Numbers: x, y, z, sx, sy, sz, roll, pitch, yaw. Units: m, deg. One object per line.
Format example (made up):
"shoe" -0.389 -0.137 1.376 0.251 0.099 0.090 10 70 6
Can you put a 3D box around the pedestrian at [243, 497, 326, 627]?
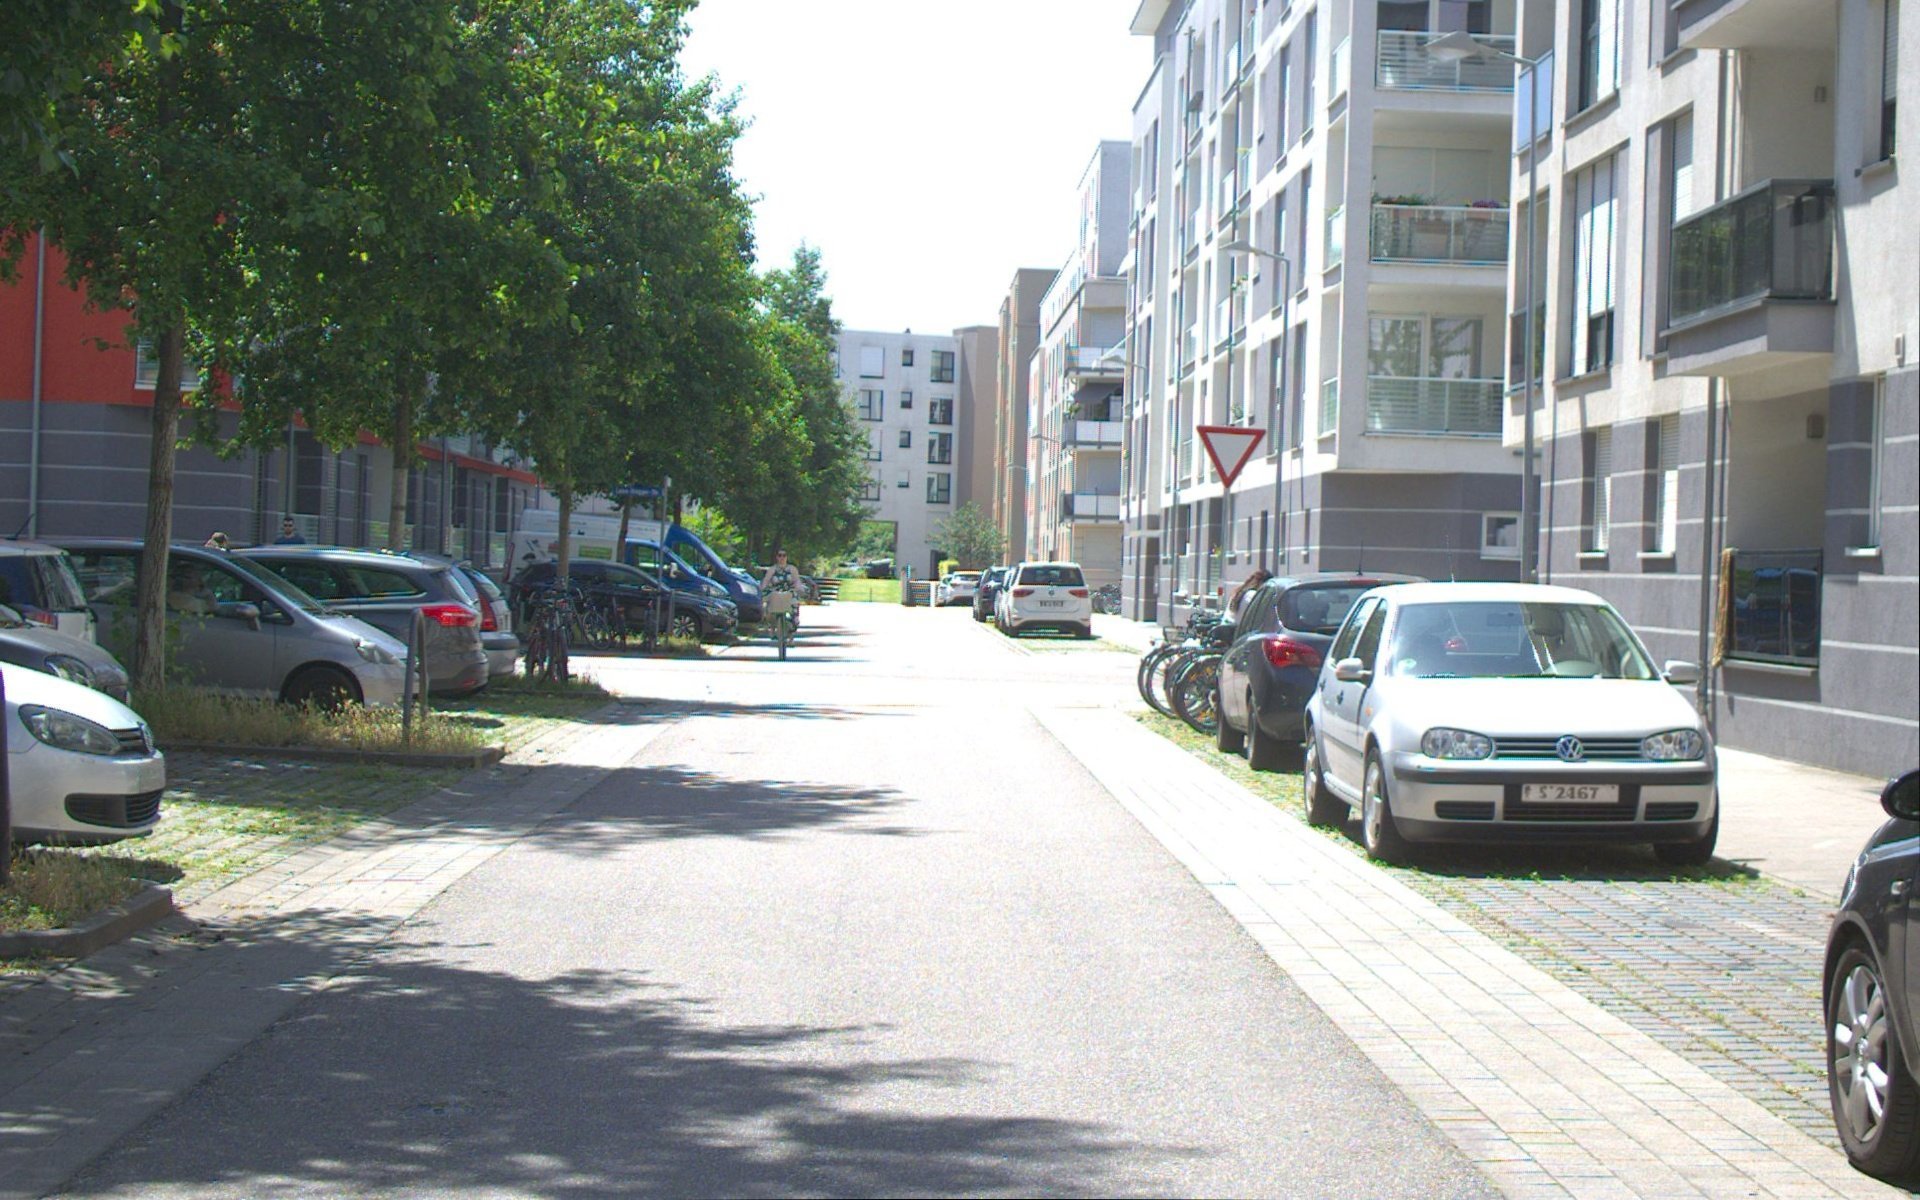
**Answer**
"pedestrian" -10.625 -0.600 54.086 1.009 2.007 1.129 1 0 2

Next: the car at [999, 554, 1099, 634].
"car" 1.912 -0.145 74.661 1.997 1.651 4.115 1 1 0

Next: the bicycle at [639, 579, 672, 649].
"bicycle" -5.088 0.225 57.485 0.466 1.138 1.926 1 1 -3

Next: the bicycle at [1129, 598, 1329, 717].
"bicycle" 2.658 0.560 33.923 1.924 1.129 0.609 1 0 8

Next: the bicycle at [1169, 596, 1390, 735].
"bicycle" 2.860 0.582 30.873 1.869 1.213 0.715 1 0 -4

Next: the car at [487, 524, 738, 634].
"car" -7.495 -0.473 74.543 5.145 2.112 2.312 3 1 -1

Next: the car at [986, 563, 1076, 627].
"car" 1.735 -0.144 85.191 1.993 1.519 4.000 1 1 -2

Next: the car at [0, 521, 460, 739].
"car" -6.258 0.221 28.430 3.937 1.548 1.872 3 1 -1

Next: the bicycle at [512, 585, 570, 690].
"bicycle" -4.731 0.407 38.756 0.433 1.124 1.979 1 1 -13

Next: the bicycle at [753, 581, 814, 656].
"bicycle" -2.779 0.282 54.360 0.898 1.125 2.040 1 1 -2

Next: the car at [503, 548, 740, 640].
"car" -6.592 -0.127 67.369 4.383 1.509 2.075 4 1 -1

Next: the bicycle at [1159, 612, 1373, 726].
"bicycle" 2.870 0.646 32.315 1.923 1.031 0.559 1 0 -4

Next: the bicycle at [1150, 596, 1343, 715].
"bicycle" 2.800 0.540 33.559 1.833 1.144 0.461 0 0 -20

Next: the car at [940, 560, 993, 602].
"car" 0.271 -0.808 143.312 1.993 1.669 4.000 2 1 -2

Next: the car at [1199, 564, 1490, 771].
"car" 2.958 0.471 27.227 1.738 1.480 4.229 1 1 -1

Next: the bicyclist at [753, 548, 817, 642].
"bicyclist" -2.767 -0.090 54.432 0.953 1.454 0.800 1 1 -2

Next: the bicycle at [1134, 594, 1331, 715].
"bicycle" 2.745 0.541 34.529 1.924 1.175 0.638 1 0 8

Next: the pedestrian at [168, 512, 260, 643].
"pedestrian" -9.848 -0.297 45.403 1.000 1.685 0.832 1 0 0

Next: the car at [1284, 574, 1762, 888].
"car" 2.947 0.622 18.908 1.834 1.499 4.351 0 1 -1

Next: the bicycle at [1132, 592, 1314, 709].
"bicycle" 2.739 0.522 35.921 1.859 1.189 0.687 1 0 2

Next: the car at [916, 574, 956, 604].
"car" -1.320 -0.613 184.594 1.993 1.514 4.000 2 1 -2

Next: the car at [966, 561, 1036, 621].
"car" 1.152 -0.271 94.765 1.757 1.547 4.000 2 1 2

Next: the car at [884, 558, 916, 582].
"car" -3.968 -2.002 226.682 1.993 1.514 4.000 2 1 -2

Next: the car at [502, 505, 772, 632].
"car" -7.470 -0.735 79.973 6.023 2.807 2.605 1 1 -1

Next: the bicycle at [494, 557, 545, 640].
"bicycle" -7.335 -0.038 57.290 0.593 1.327 1.812 1 2 0

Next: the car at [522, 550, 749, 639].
"car" -6.573 -0.125 69.921 4.383 1.537 1.878 3 1 -1

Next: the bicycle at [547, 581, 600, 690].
"bicycle" -4.370 0.387 38.788 0.371 1.176 1.821 1 1 -13

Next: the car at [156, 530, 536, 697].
"car" -6.419 0.128 36.244 3.630 1.515 1.832 3 1 -1

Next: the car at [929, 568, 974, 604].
"car" -0.435 -0.700 170.537 1.993 1.711 4.000 2 1 -2

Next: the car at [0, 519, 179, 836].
"car" -6.188 0.301 18.264 3.707 1.580 1.821 3 0 -6

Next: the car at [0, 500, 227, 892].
"car" -5.740 0.409 15.855 4.360 1.704 2.000 0 1 -3

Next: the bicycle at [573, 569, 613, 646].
"bicycle" -6.106 0.114 57.260 0.434 1.200 1.700 3 2 0

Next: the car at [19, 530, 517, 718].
"car" -6.221 0.222 31.327 4.180 1.481 1.959 3 -1 -4

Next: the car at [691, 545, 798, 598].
"car" -8.672 -1.163 138.806 3.988 2.007 2.000 2 1 6

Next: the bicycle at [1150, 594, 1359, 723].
"bicycle" 2.824 0.563 32.975 1.923 1.213 0.461 1 0 -10

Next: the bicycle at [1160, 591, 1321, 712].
"bicycle" 2.863 0.522 35.213 1.550 1.213 0.708 1 0 -2

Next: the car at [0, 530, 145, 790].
"car" -6.752 0.265 21.261 2.932 1.495 1.848 4 1 -2

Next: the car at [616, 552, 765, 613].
"car" -7.598 -0.498 97.179 3.987 1.612 2.000 2 1 1

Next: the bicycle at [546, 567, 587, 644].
"bicycle" -6.576 0.088 57.507 0.518 1.200 1.752 3 2 -3

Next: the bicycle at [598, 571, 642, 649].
"bicycle" -5.674 0.158 57.259 0.570 1.170 1.769 5 2 -8

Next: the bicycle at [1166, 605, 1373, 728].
"bicycle" 2.834 0.607 31.620 1.786 1.100 0.747 1 0 -4

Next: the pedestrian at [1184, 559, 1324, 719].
"pedestrian" 2.826 0.370 33.101 1.178 1.509 0.688 1 1 -10

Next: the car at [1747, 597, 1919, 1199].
"car" 3.068 0.747 7.519 1.642 1.457 4.118 0 1 -2
